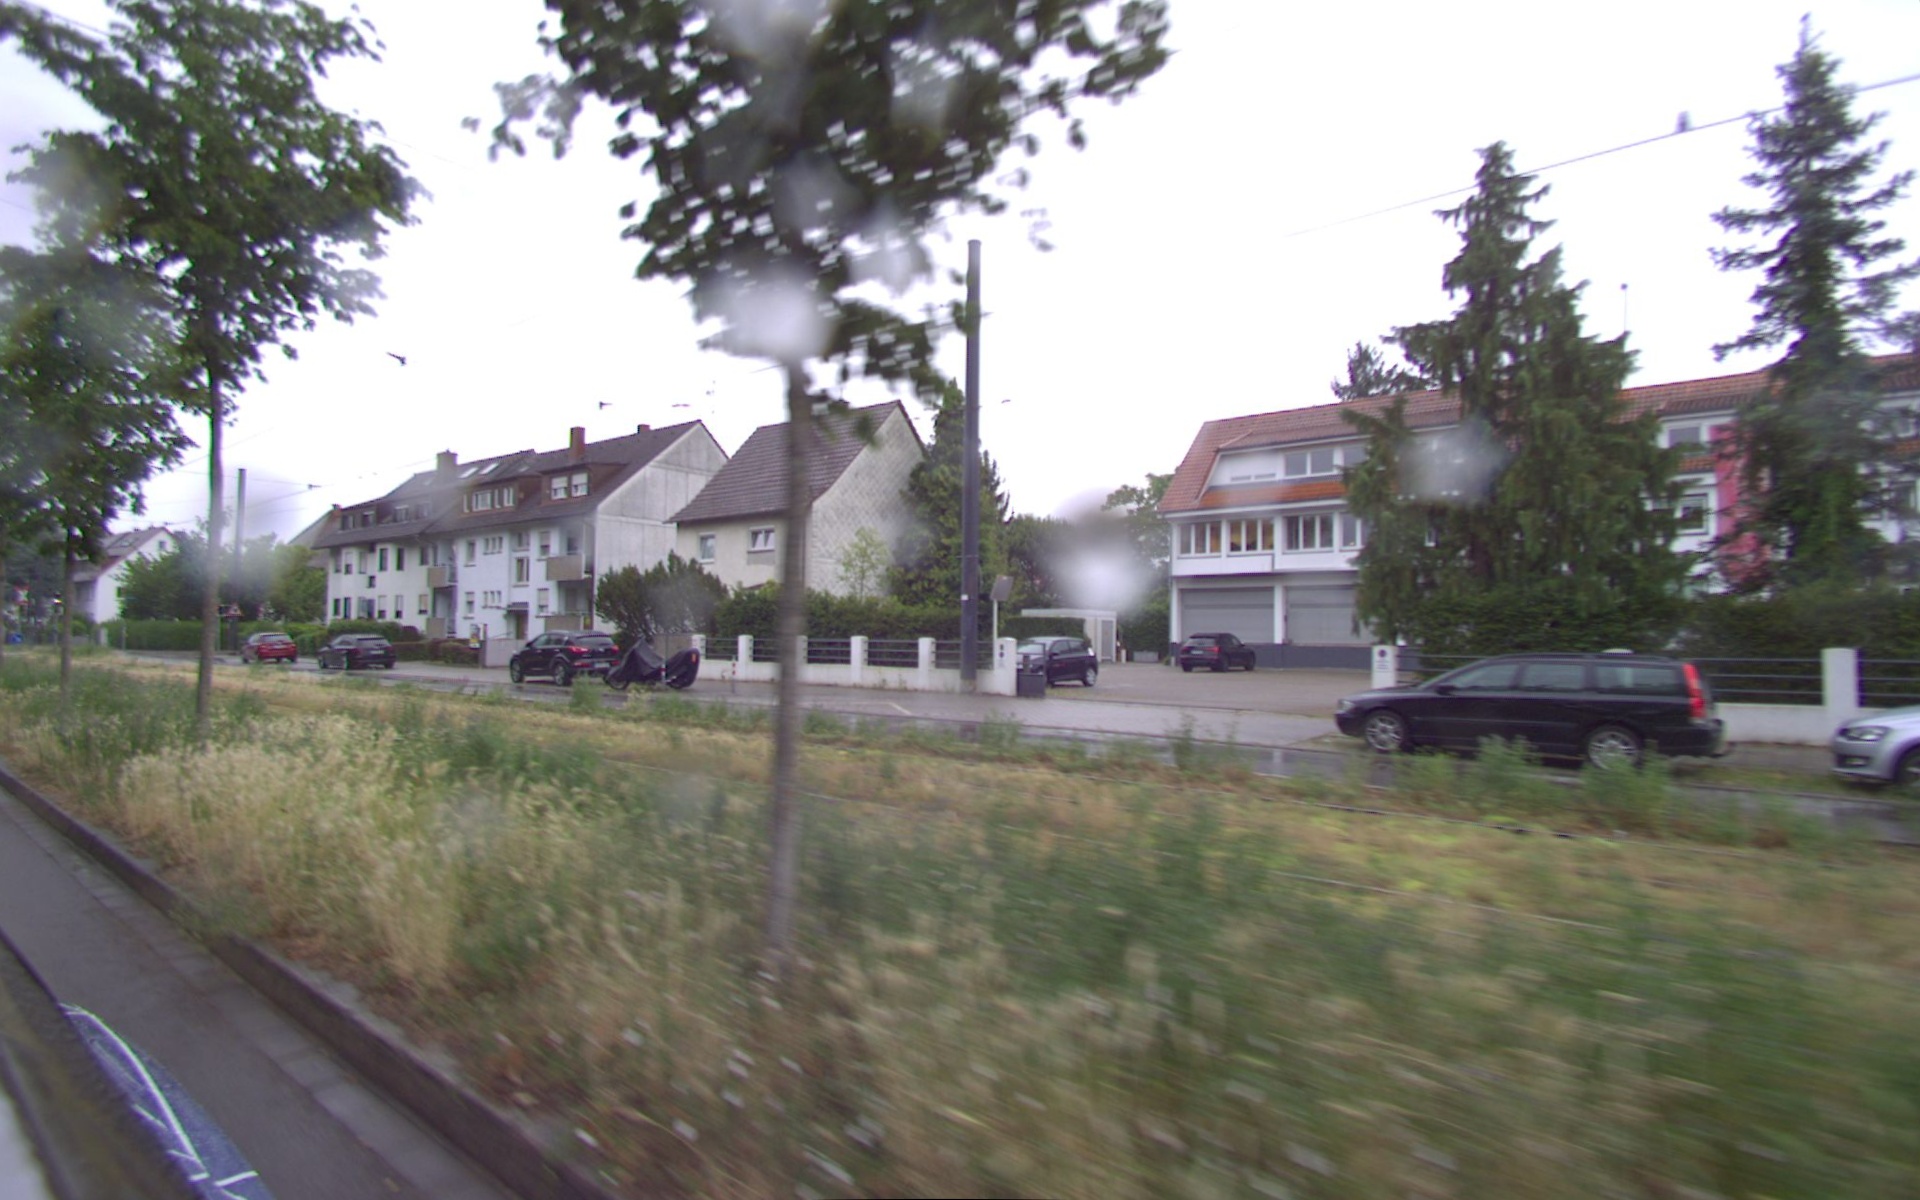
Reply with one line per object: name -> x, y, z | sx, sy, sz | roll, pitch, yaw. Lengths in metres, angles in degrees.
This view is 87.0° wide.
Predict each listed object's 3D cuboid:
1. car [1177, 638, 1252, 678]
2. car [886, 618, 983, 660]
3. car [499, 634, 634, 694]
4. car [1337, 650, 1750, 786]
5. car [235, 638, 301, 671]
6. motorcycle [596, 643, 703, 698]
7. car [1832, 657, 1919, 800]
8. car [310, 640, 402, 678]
car -> 10.837, 2.430, 42.891 | 1.701, 1.551, 3.922 | -2, -2, 36
car -> -0.949, 1.514, 40.057 | 1.702, 1.551, 3.919 | -2, -2, 39
car -> -12.211, 1.921, 31.322 | 4.382, 1.687, 1.974 | -1, -3, 39
car -> 7.767, 1.448, 13.756 | 4.530, 1.467, 1.972 | -2, -2, 42
car -> -33.758, 2.633, 49.343 | 3.999, 1.468, 1.778 | -2, -2, 42
motorcycle -> -8.461, 1.918, 27.730 | 2.645, 1.421, 1.269 | 0, -1, -7
car -> 11.753, 1.358, 10.536 | 3.968, 1.422, 1.973 | -2, -2, 40
car -> -25.040, 2.402, 41.898 | 4.760, 1.422, 1.972 | -2, -2, 42
